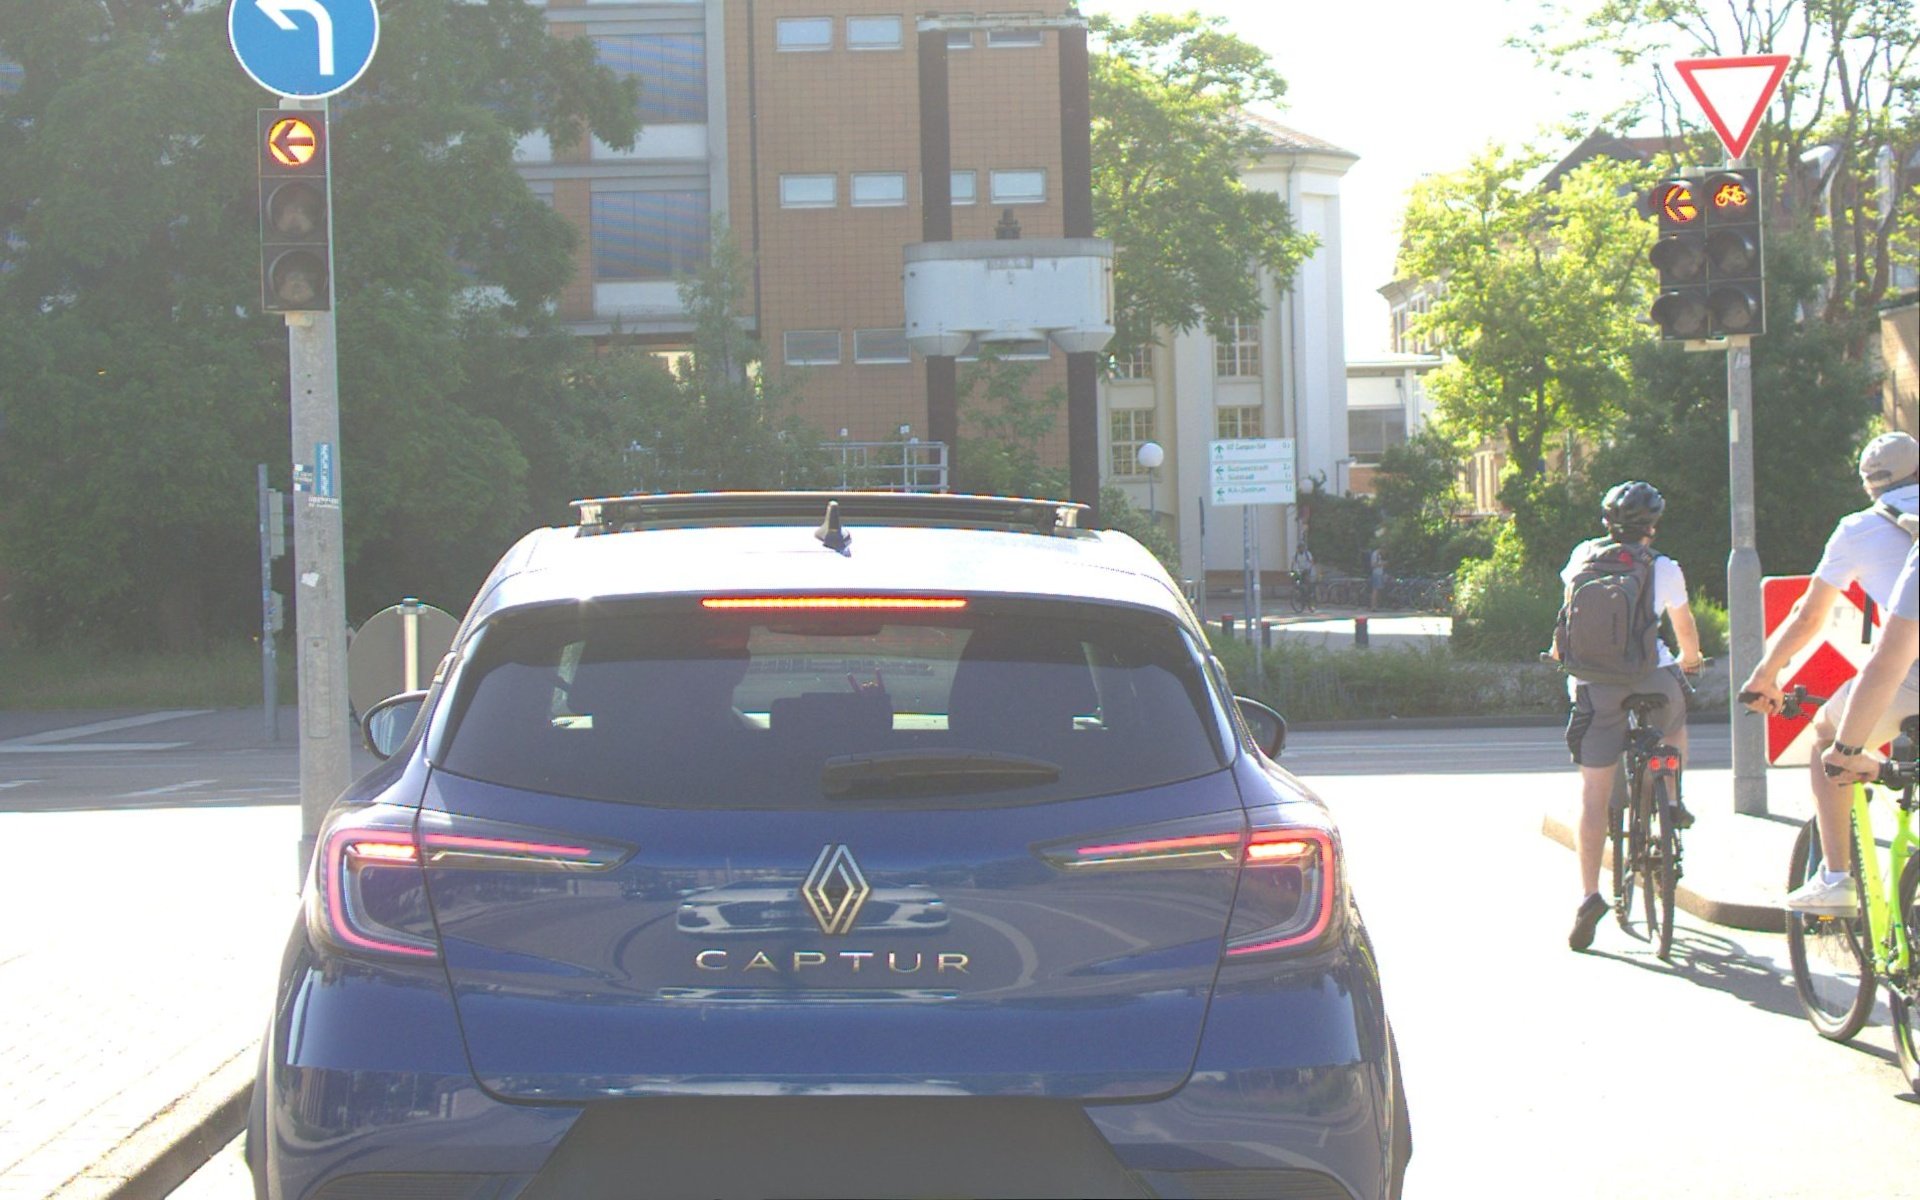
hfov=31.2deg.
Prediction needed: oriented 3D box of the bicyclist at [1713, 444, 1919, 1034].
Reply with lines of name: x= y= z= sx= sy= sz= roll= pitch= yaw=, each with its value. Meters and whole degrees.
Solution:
bicyclist: x=2.625 y=0.368 z=9.839 sx=0.678 sy=1.589 sz=1.142 roll=0 pitch=1 yaw=-1

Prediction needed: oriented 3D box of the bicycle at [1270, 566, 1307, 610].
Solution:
bicycle: x=8.778 y=-0.329 z=91.936 sx=0.694 sy=1.136 sz=2.441 roll=-1 pitch=1 yaw=-1

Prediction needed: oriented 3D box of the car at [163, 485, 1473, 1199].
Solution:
car: x=-0.271 y=0.609 z=6.661 sx=1.788 sy=1.580 sz=3.915 roll=0 pitch=1 yaw=-2

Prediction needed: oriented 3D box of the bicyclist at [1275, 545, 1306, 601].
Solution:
bicyclist: x=8.791 y=-0.718 z=91.391 sx=0.694 sy=1.476 sz=0.717 roll=-1 pitch=1 yaw=-2

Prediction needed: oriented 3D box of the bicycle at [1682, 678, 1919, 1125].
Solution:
bicycle: x=2.623 y=0.799 z=9.831 sx=0.689 sy=1.085 sz=1.922 roll=0 pitch=1 yaw=-1

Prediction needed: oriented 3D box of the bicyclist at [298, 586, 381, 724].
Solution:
bicyclist: x=-7.902 y=0.689 z=43.808 sx=0.755 sy=1.710 sz=0.998 roll=-1 pitch=1 yaw=5

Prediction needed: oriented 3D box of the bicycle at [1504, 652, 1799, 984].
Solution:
bicycle: x=2.530 y=0.764 z=12.780 sx=0.689 sy=1.085 sz=1.922 roll=0 pitch=1 yaw=-1

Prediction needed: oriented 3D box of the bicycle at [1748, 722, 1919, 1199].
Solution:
bicycle: x=2.236 y=0.846 z=7.243 sx=0.689 sy=1.085 sz=1.922 roll=0 pitch=1 yaw=-1

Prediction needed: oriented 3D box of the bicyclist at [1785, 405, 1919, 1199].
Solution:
bicyclist: x=2.232 y=0.501 z=7.283 sx=0.683 sy=1.785 sz=1.142 roll=0 pitch=1 yaw=-1

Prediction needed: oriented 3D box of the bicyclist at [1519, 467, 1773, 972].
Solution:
bicyclist: x=2.515 y=0.416 z=12.716 sx=0.699 sy=1.785 sz=1.142 roll=0 pitch=1 yaw=-1

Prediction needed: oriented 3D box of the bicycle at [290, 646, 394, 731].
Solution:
bicycle: x=-7.883 y=1.120 z=43.918 sx=0.755 sy=0.981 sz=2.093 roll=-1 pitch=1 yaw=5
